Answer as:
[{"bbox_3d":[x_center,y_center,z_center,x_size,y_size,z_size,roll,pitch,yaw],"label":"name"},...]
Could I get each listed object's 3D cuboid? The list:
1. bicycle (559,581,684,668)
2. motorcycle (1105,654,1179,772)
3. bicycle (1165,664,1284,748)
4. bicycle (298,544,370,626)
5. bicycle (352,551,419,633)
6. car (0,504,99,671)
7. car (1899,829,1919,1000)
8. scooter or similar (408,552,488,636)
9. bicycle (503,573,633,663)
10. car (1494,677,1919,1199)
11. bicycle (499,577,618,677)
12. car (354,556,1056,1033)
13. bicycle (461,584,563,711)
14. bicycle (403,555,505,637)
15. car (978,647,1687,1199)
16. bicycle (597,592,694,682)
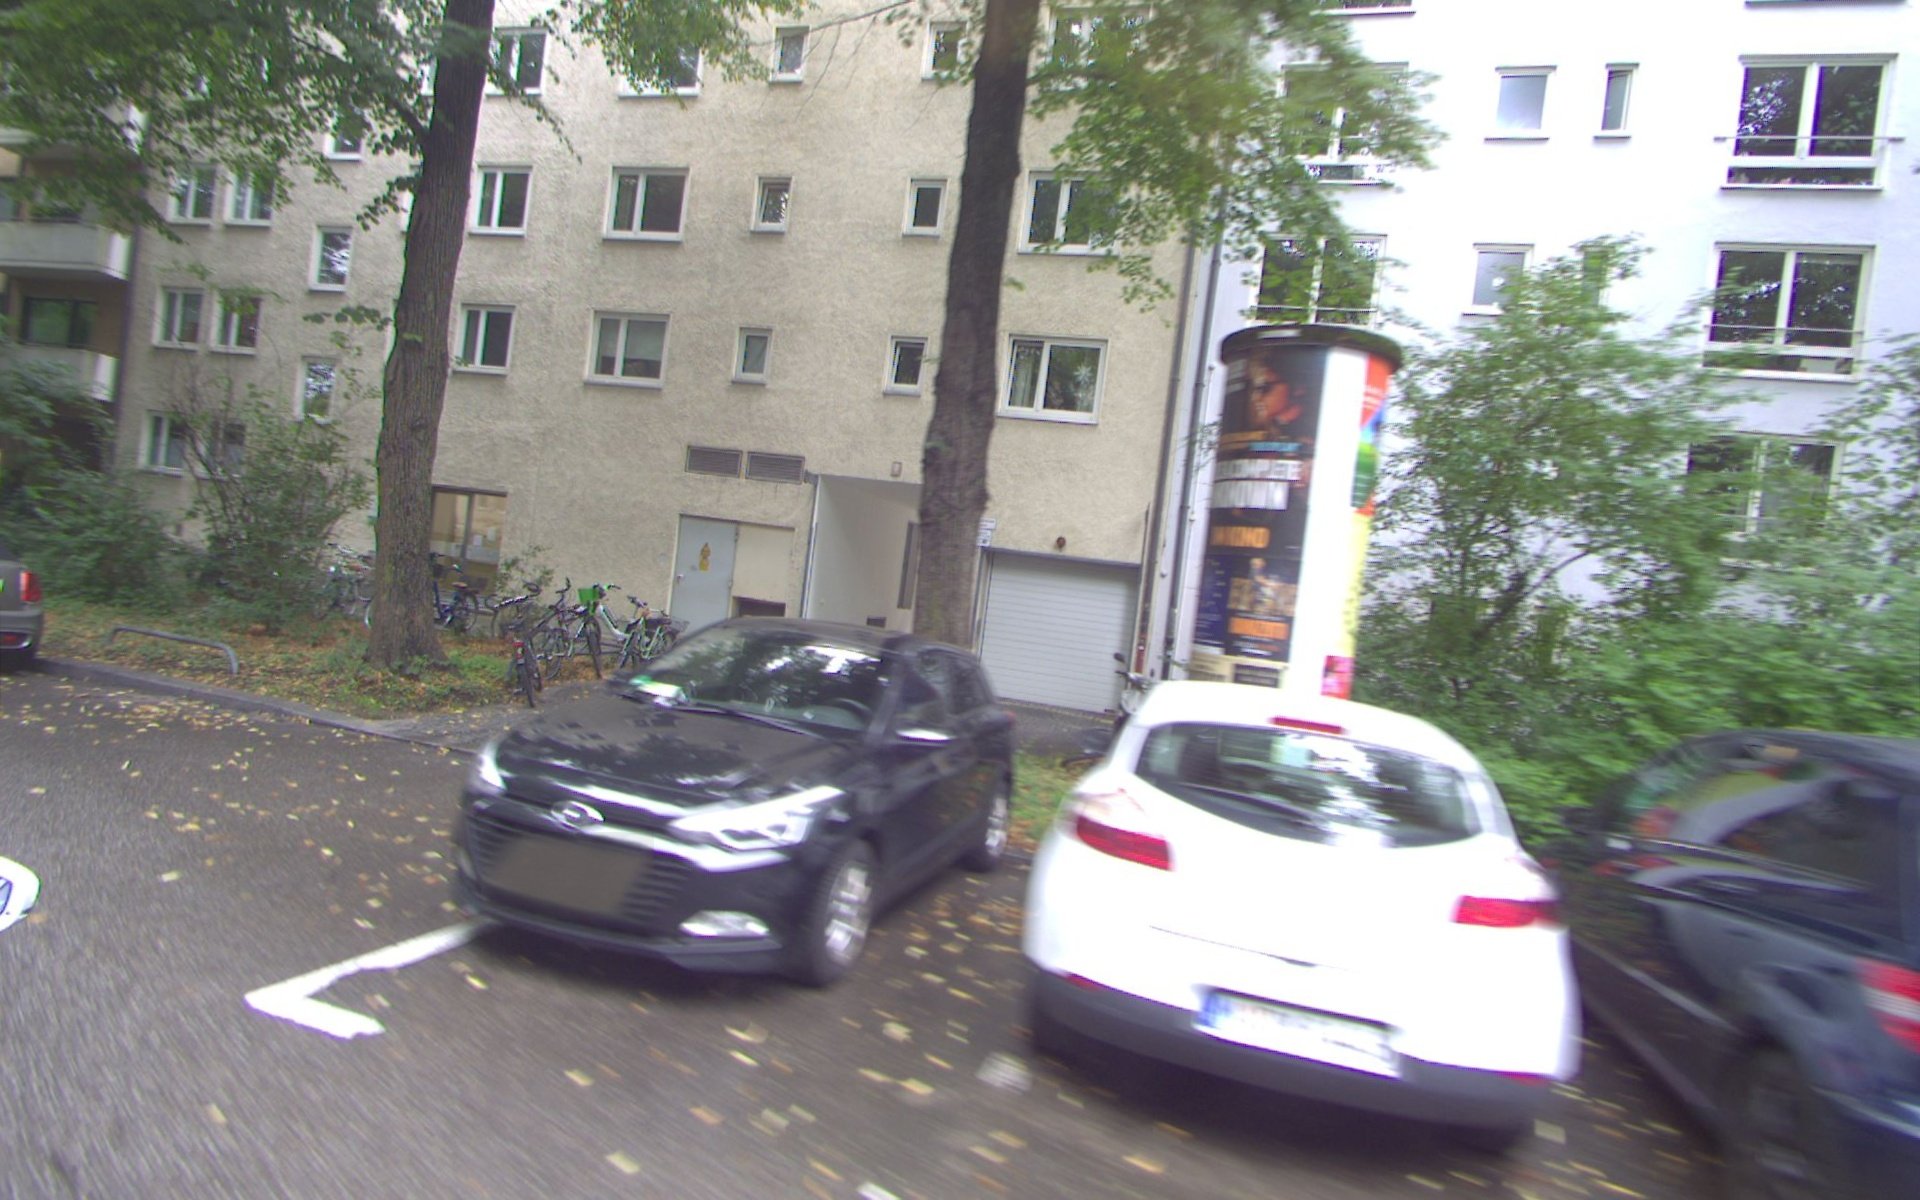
[{"bbox_3d":[-5.362,0.385,15.971,1.738,1.137,0.446,7,0,6],"label":"bicycle"},{"bbox_3d":[2.202,1.322,12.242,0.678,1.212,1.809,7,-1,10],"label":"motorcycle"},{"bbox_3d":[4.125,1.635,15.726,1.669,1.037,0.539,7,3,16],"label":"bicycle"},{"bbox_3d":[-9.594,-0.234,15.469,0.439,1.137,1.764,7,-1,-19],"label":"bicycle"},{"bbox_3d":[-8.781,-0.129,15.429,0.439,1.137,1.764,7,-1,-19],"label":"bicycle"},{"bbox_3d":[-10.432,-0.351,9.073,4.345,1.431,1.905,7,0,16],"label":"car"},{"bbox_3d":[6.234,1.694,3.605,1.922,1.394,4.737,7,-1,13],"label":"car"},{"bbox_3d":[-8.600,-0.101,16.908,1.115,1.268,0.385,7,0,16],"label":"scooter or similar"},{"bbox_3d":[-5.998,0.275,15.412,1.738,1.137,0.446,7,0,6],"label":"bicycle"},{"bbox_3d":[3.610,1.243,3.975,1.723,1.574,3.987,7,-1,17],"label":"car"},{"bbox_3d":[-5.134,0.353,12.994,0.530,1.137,1.878,7,-1,5],"label":"bicycle"},{"bbox_3d":[-0.817,0.749,5.537,1.702,1.411,4.098,7,-1,18],"label":"car"},{"bbox_3d":[-4.839,0.472,10.979,0.756,1.178,1.862,7,-1,-20],"label":"bicycle"},{"bbox_3d":[-7.840,-0.033,15.677,0.437,1.137,1.949,7,-1,1],"label":"bicycle"},{"bbox_3d":[1.439,1.076,4.844,1.792,1.465,3.951,7,-1,13],"label":"car"},{"bbox_3d":[-4.433,0.526,14.329,0.530,1.137,1.878,7,-1,5],"label":"bicycle"}]
